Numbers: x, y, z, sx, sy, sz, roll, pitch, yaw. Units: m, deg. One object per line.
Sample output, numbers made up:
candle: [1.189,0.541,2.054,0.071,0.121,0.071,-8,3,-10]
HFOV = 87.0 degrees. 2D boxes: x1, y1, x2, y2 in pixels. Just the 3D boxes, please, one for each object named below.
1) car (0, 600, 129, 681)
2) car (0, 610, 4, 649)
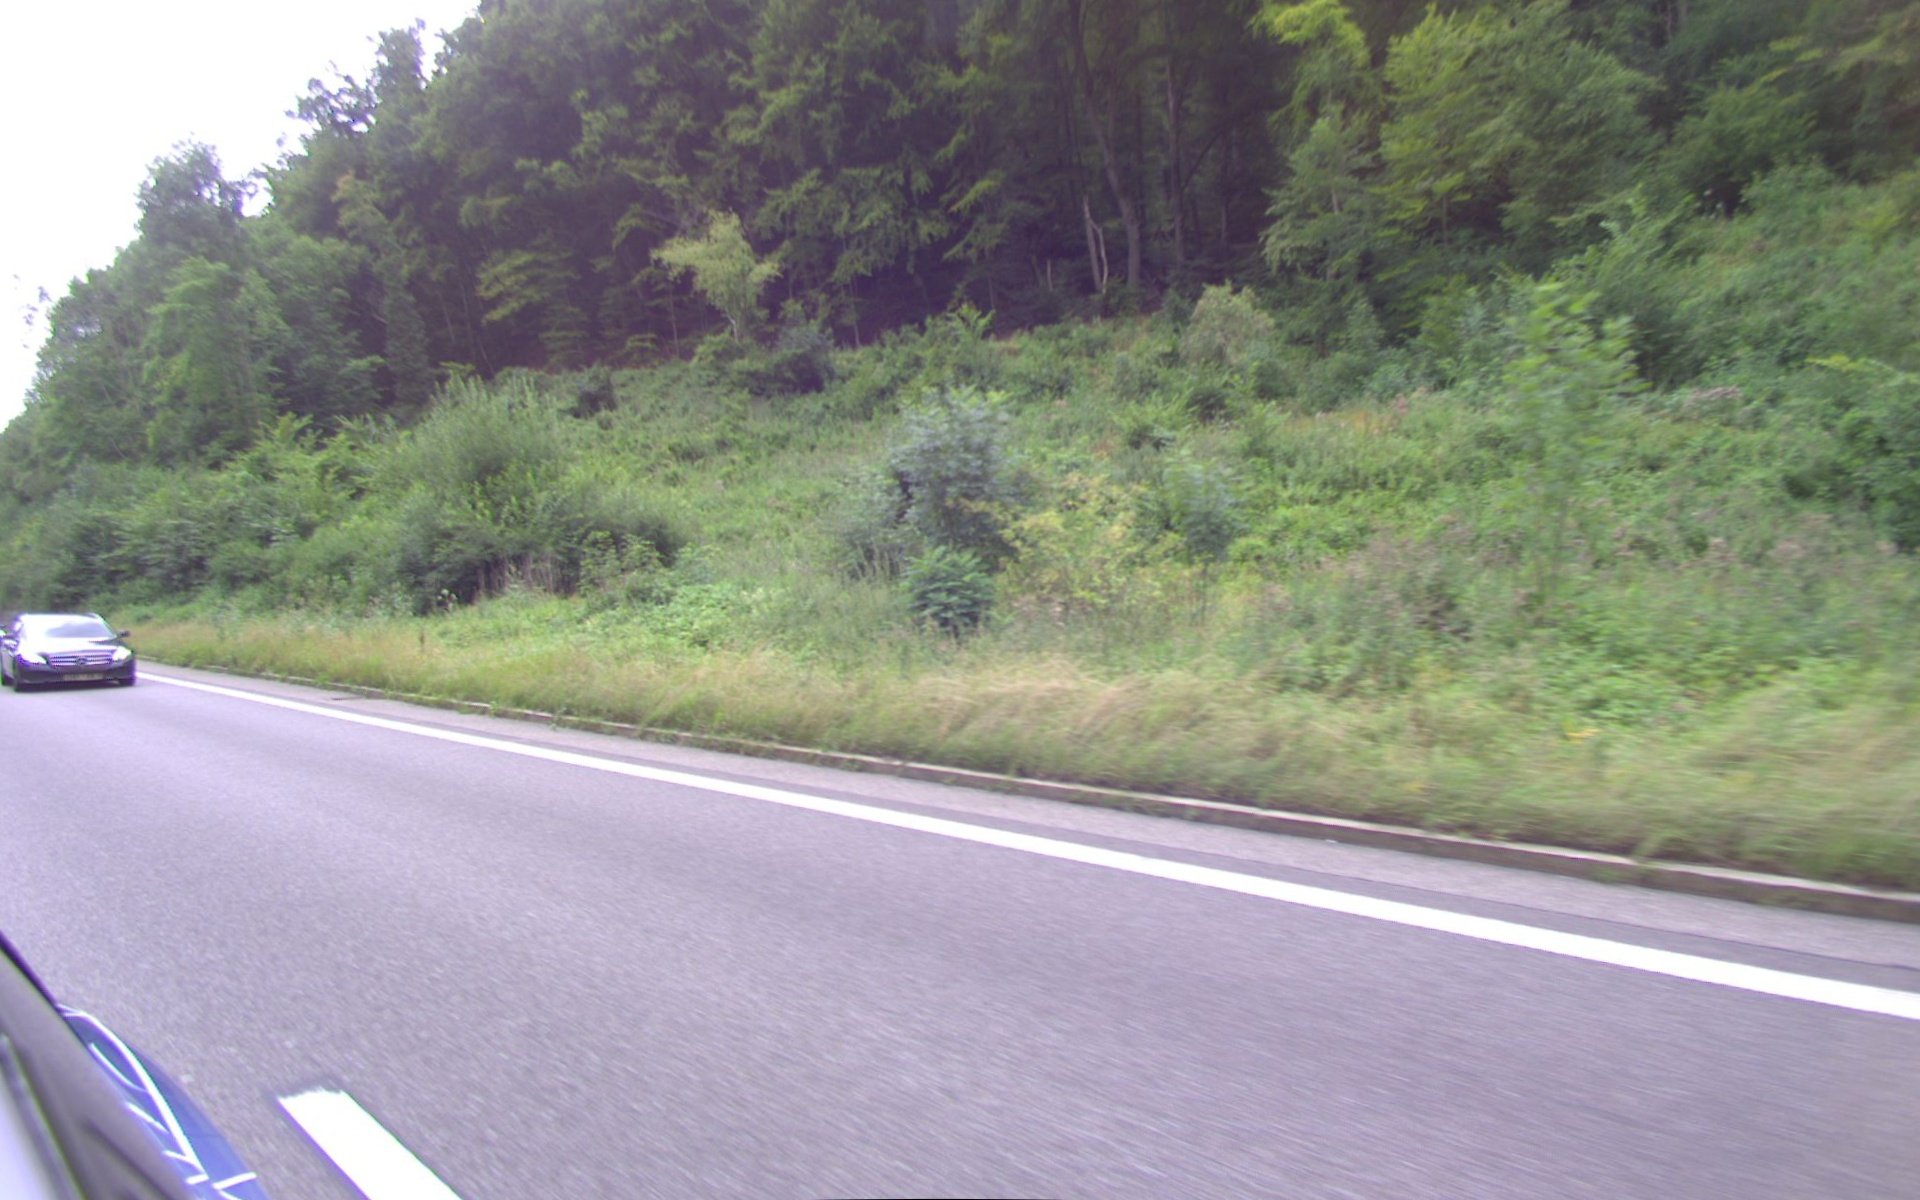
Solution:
car: [-18.645,0.789,20.885,5.124,1.474,1.741,-2,-1,44]
car: [-38.646,1.127,39.105,4.549,1.480,1.818,-1,-1,38]
